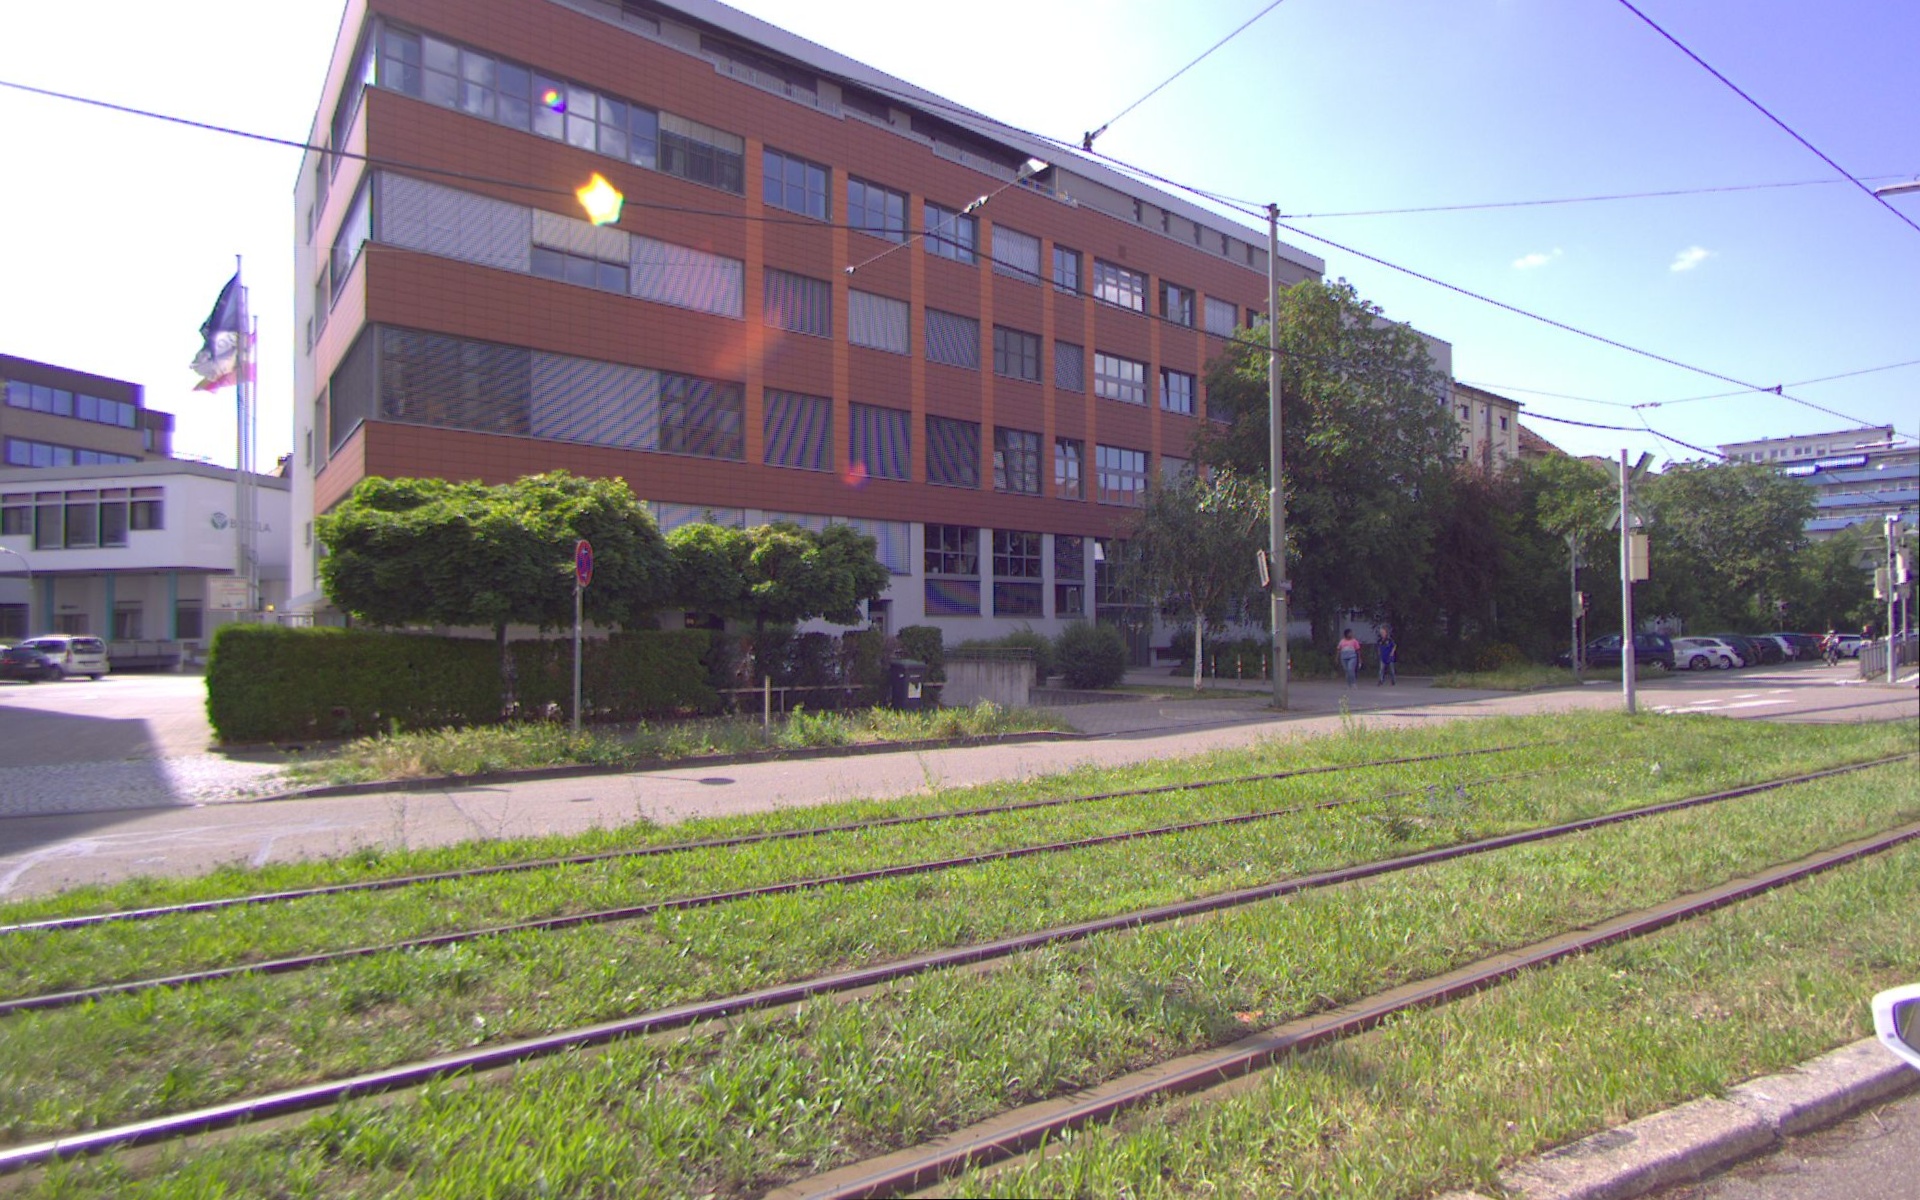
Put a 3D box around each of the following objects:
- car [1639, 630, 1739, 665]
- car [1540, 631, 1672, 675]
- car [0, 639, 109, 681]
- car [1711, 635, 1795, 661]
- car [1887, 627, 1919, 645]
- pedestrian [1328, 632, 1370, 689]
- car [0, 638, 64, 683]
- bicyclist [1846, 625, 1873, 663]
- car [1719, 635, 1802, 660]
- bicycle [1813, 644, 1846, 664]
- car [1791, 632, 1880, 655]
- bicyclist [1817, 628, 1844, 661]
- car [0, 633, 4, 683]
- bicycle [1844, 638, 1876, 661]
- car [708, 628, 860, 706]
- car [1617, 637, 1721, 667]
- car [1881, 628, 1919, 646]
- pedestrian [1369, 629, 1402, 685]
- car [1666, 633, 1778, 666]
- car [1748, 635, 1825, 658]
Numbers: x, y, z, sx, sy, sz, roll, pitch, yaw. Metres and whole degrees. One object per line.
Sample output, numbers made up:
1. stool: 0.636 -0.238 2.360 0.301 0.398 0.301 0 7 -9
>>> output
1. car: 32.914 2.157 45.431 3.321 1.525 1.545 -1 -2 15
2. car: 25.635 2.106 39.990 4.049 1.662 1.727 -1 -2 13
3. car: -38.058 2.497 41.954 3.919 1.717 1.773 -1 -2 11
4. car: 41.675 2.501 52.860 3.181 1.326 1.457 -1 -2 4
5. car: 79.936 2.985 83.443 3.921 1.466 1.729 -1 -2 18
6. pedestrian: 11.025 1.715 28.473 0.879 1.594 0.742 2 -3 -30
7. car: -37.823 2.365 39.527 3.919 1.717 1.773 -1 -2 11
8. bicyclist: 49.250 2.424 54.996 0.938 2.039 1.566 -5 -6 44
9. car: 43.556 2.586 54.697 3.181 1.326 1.457 -1 -2 7
10. bicycle: 42.902 2.662 49.561 2.156 0.983 0.676 1 -3 -35
11. car: 56.321 2.799 64.664 3.919 1.385 1.718 -1 -3 11
12. bicyclist: 43.049 2.214 49.658 0.855 1.602 0.780 1 -3 -35
13. car: -37.756 2.171 36.978 3.919 1.837 1.773 -1 -2 11
14. bicycle: 49.274 2.703 54.985 1.776 1.193 1.143 3 -5 -45
15. car: -4.127 1.473 23.082 1.980 1.617 3.962 1 -2 -35
16. car: 30.553 2.228 43.368 3.320 1.252 1.545 -1 -2 13
17. car: 76.073 2.915 79.912 3.919 1.404 1.641 -1 -2 7
18. pedestrian: 12.808 1.712 30.227 0.738 1.678 0.554 1 -2 -30
19. car: 36.981 2.407 48.851 3.919 1.475 1.692 -1 -3 12
20. car: 48.297 2.713 58.715 3.181 1.326 1.457 -1 -2 7
